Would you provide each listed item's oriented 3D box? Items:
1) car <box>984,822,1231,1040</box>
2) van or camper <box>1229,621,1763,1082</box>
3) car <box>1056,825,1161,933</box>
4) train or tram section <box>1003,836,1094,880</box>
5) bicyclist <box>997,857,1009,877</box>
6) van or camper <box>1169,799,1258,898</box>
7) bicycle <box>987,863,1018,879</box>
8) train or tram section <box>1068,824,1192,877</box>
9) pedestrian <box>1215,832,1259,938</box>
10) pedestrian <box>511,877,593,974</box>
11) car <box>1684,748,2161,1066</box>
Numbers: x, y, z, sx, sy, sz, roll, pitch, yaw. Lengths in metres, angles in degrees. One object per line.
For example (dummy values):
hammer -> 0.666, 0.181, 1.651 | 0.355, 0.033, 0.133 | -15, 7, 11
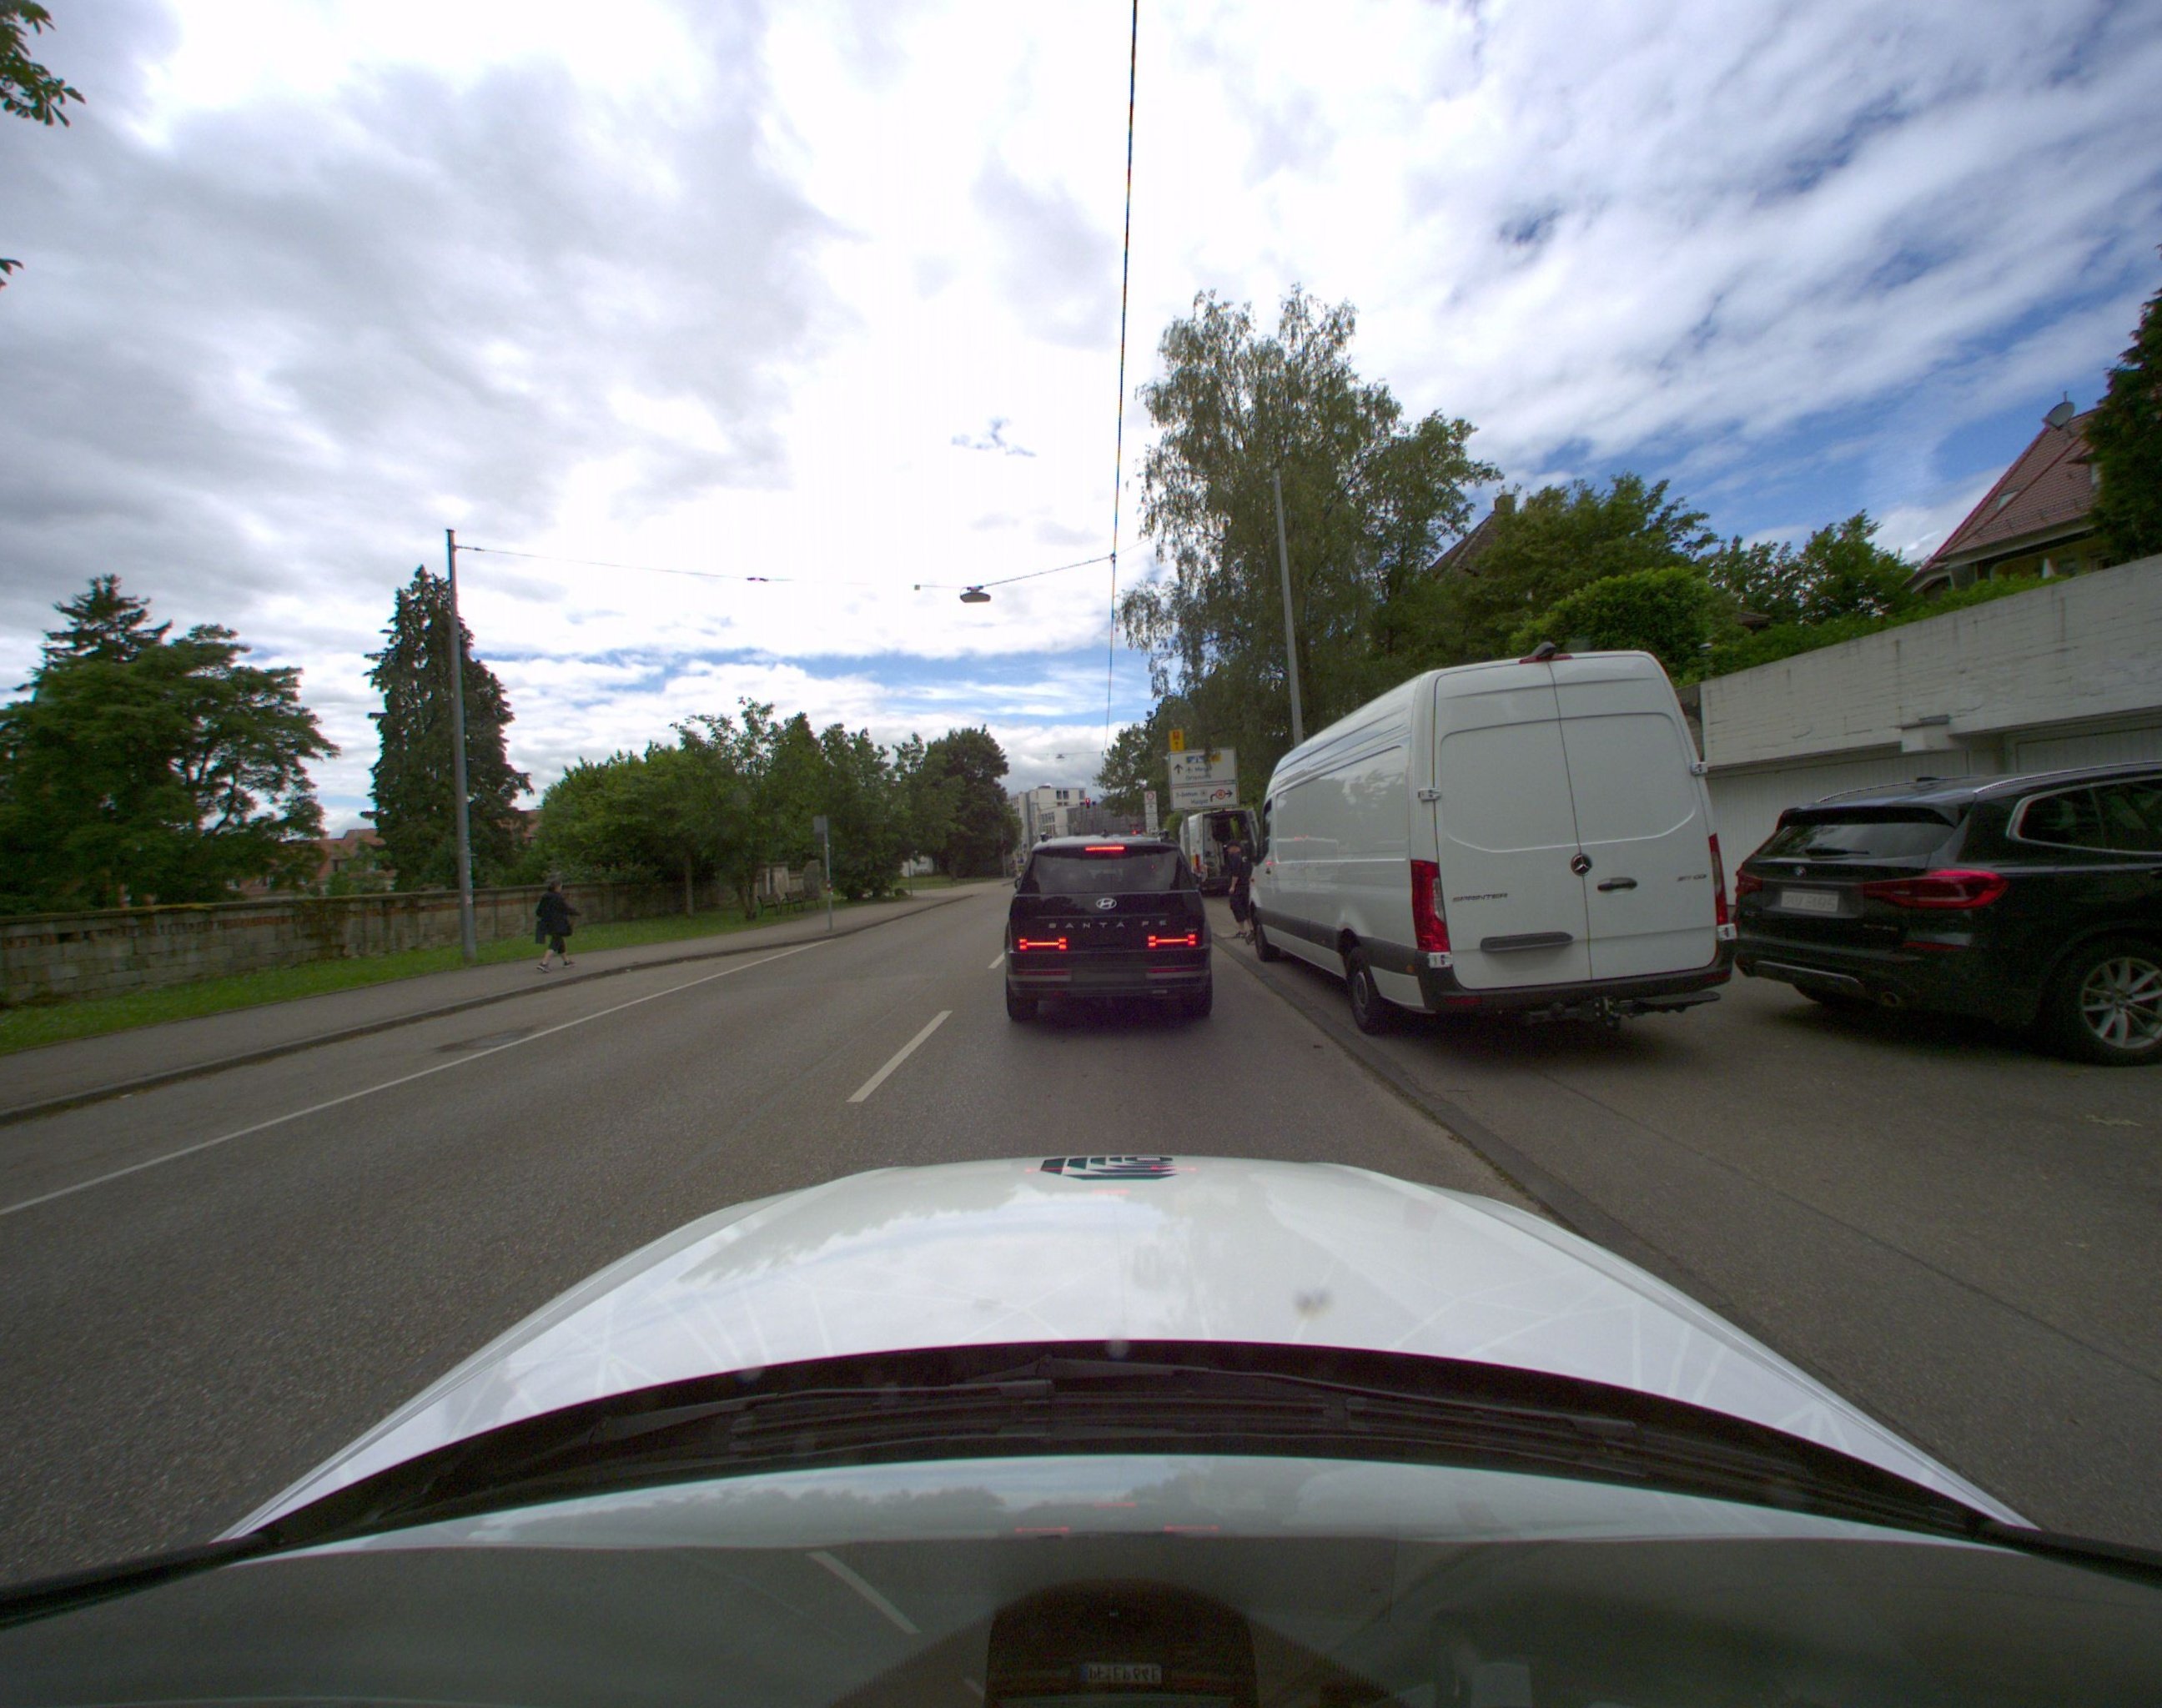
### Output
car -> 0.250, 0.629, 8.648 | 1.957, 1.711, 4.001 | -2, 0, 1
van or camper -> 3.095, -0.014, 8.126 | 1.957, 2.627, 6.359 | -5, 0, 1
car -> 0.568, 0.483, 17.658 | 1.957, 2.001, 4.001 | -2, 0, 1
train or tram section -> -4.341, 0.698, 99.357 | 3.212, 4.523, 18.509 | -1, -2, -28
bicyclist -> -6.683, 1.141, 69.820 | 0.850, 1.659, 0.679 | -2, -2, 10
van or camper -> 4.243, -0.172, 26.942 | 1.957, 2.797, 5.287 | -5, 0, 1
bicycle -> -6.748, 1.466, 69.822 | 2.477, 1.279, 0.679 | -2, -2, 10
train or tram section -> 4.440, -0.101, 83.086 | 3.212, 4.523, 18.506 | -1, -2, -29
pedestrian -> 2.645, 0.525, 13.795 | 0.613, 1.743, 0.608 | -2, -2, 15
pedestrian -> -9.209, 1.225, 14.213 | 0.746, 1.578, 0.967 | -2, 0, 1
car -> 6.852, 0.187, 5.299 | 4.376, 1.652, 1.831 | -4, 0, 2
